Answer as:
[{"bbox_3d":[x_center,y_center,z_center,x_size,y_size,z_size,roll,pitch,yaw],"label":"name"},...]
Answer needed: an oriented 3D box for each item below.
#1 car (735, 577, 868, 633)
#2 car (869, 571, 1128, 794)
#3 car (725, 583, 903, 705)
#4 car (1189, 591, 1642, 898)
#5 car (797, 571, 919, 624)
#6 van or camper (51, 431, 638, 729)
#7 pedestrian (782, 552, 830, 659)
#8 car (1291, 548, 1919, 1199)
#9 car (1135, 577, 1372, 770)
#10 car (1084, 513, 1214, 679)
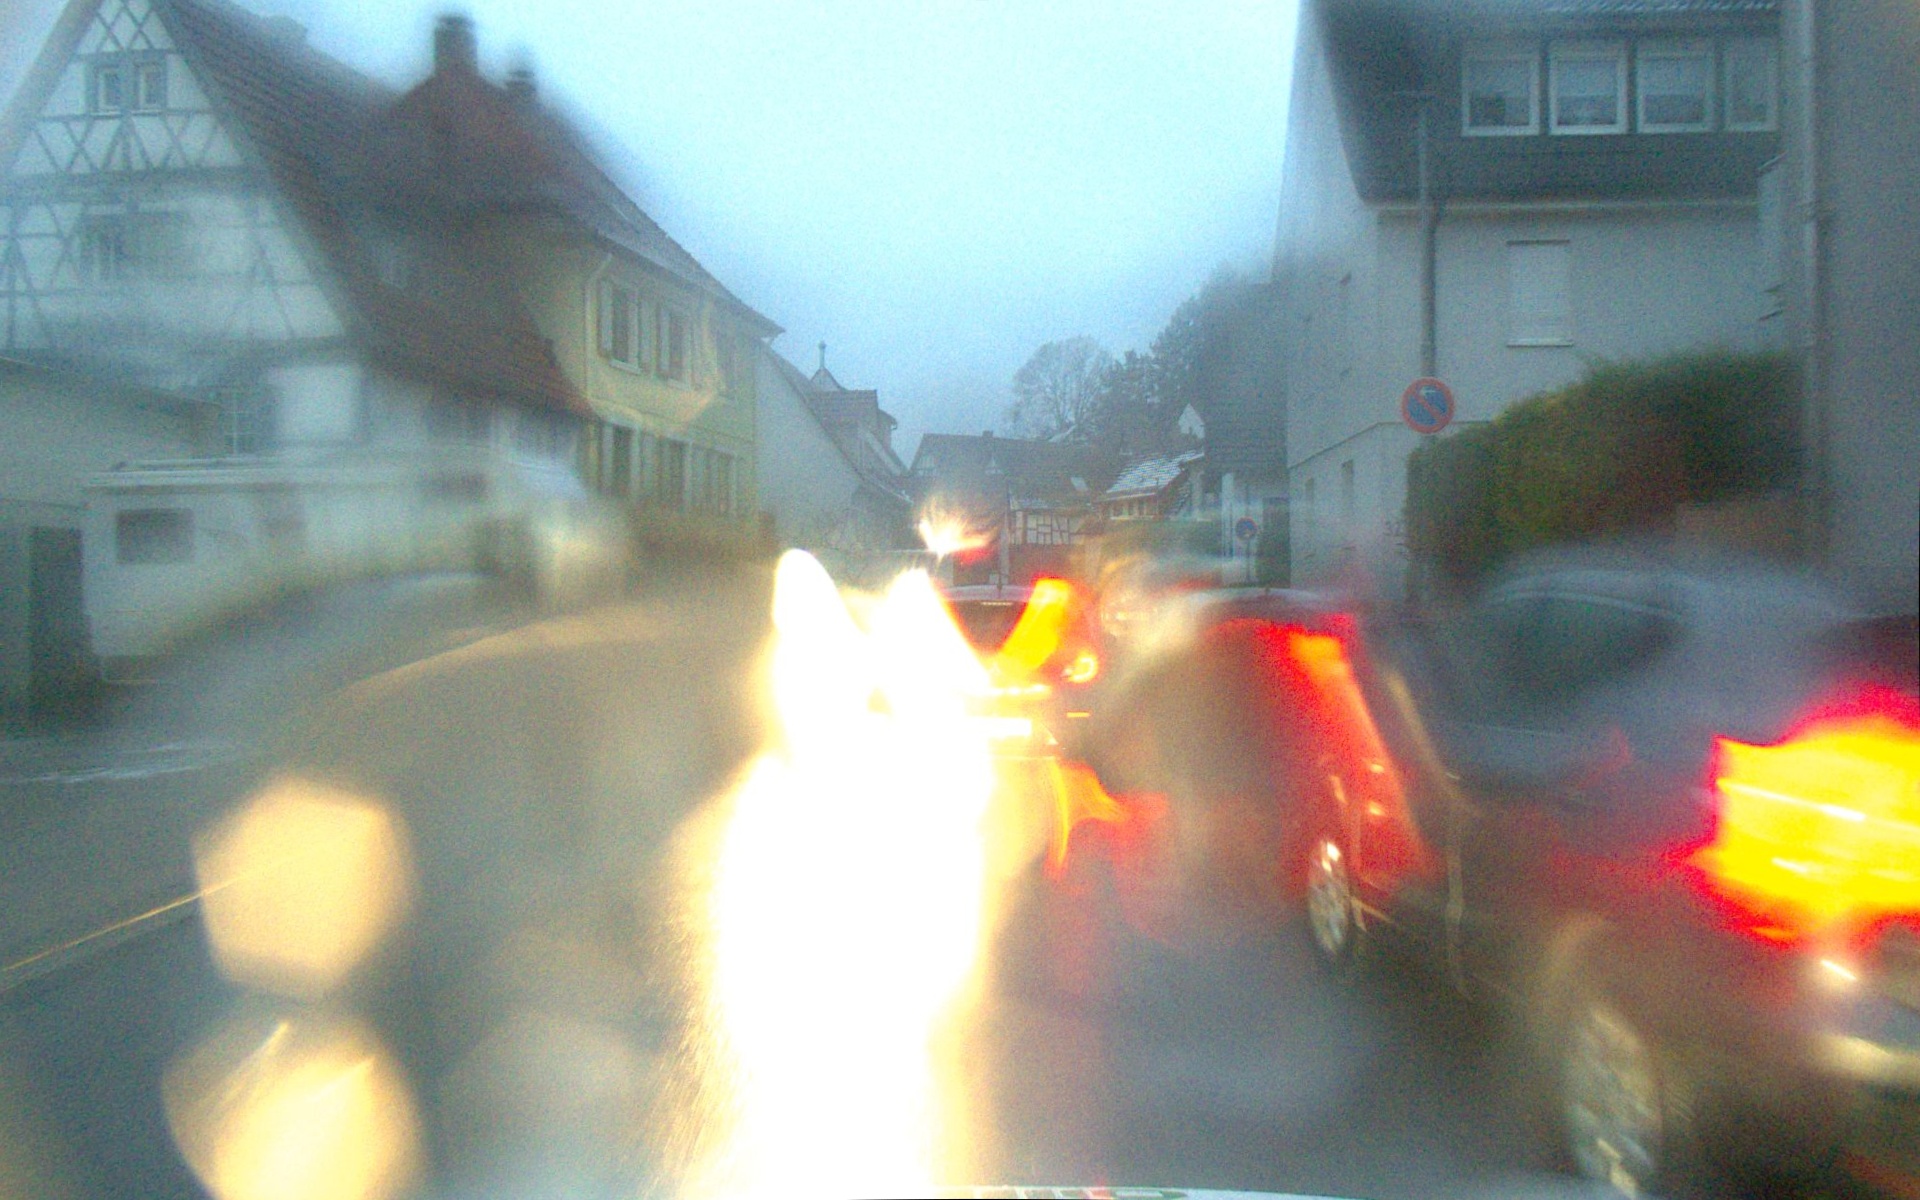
[{"bbox_3d":[-4.425,0.121,46.466,3.433,1.533,1.694,0,1,8],"label":"car"},{"bbox_3d":[0.287,0.548,13.401,1.758,1.502,4.000,1,1,1],"label":"car"},{"bbox_3d":[-1.808,0.501,21.752,1.829,1.426,4.367,0,1,2],"label":"car"},{"bbox_3d":[2.408,0.673,9.685,1.645,1.419,3.752,0,1,0],"label":"car"},{"bbox_3d":[-2.990,-0.076,48.790,3.434,1.533,1.693,0,1,2],"label":"car"},{"bbox_3d":[-7.139,-0.208,19.608,5.932,3.006,2.408,-3,0,6],"label":"van or camper"},{"bbox_3d":[-3.001,0.099,32.233,0.855,2.049,0.795,0,0,0],"label":"pedestrian"},{"bbox_3d":[2.323,0.663,4.922,1.762,1.561,3.999,0,1,-2],"label":"car"},{"bbox_3d":[2.529,0.562,15.047,1.689,1.534,3.753,0,1,3],"label":"car"},{"bbox_3d":[2.931,-0.079,26.321,1.776,2.455,3.753,0,1,2],"label":"car"}]
